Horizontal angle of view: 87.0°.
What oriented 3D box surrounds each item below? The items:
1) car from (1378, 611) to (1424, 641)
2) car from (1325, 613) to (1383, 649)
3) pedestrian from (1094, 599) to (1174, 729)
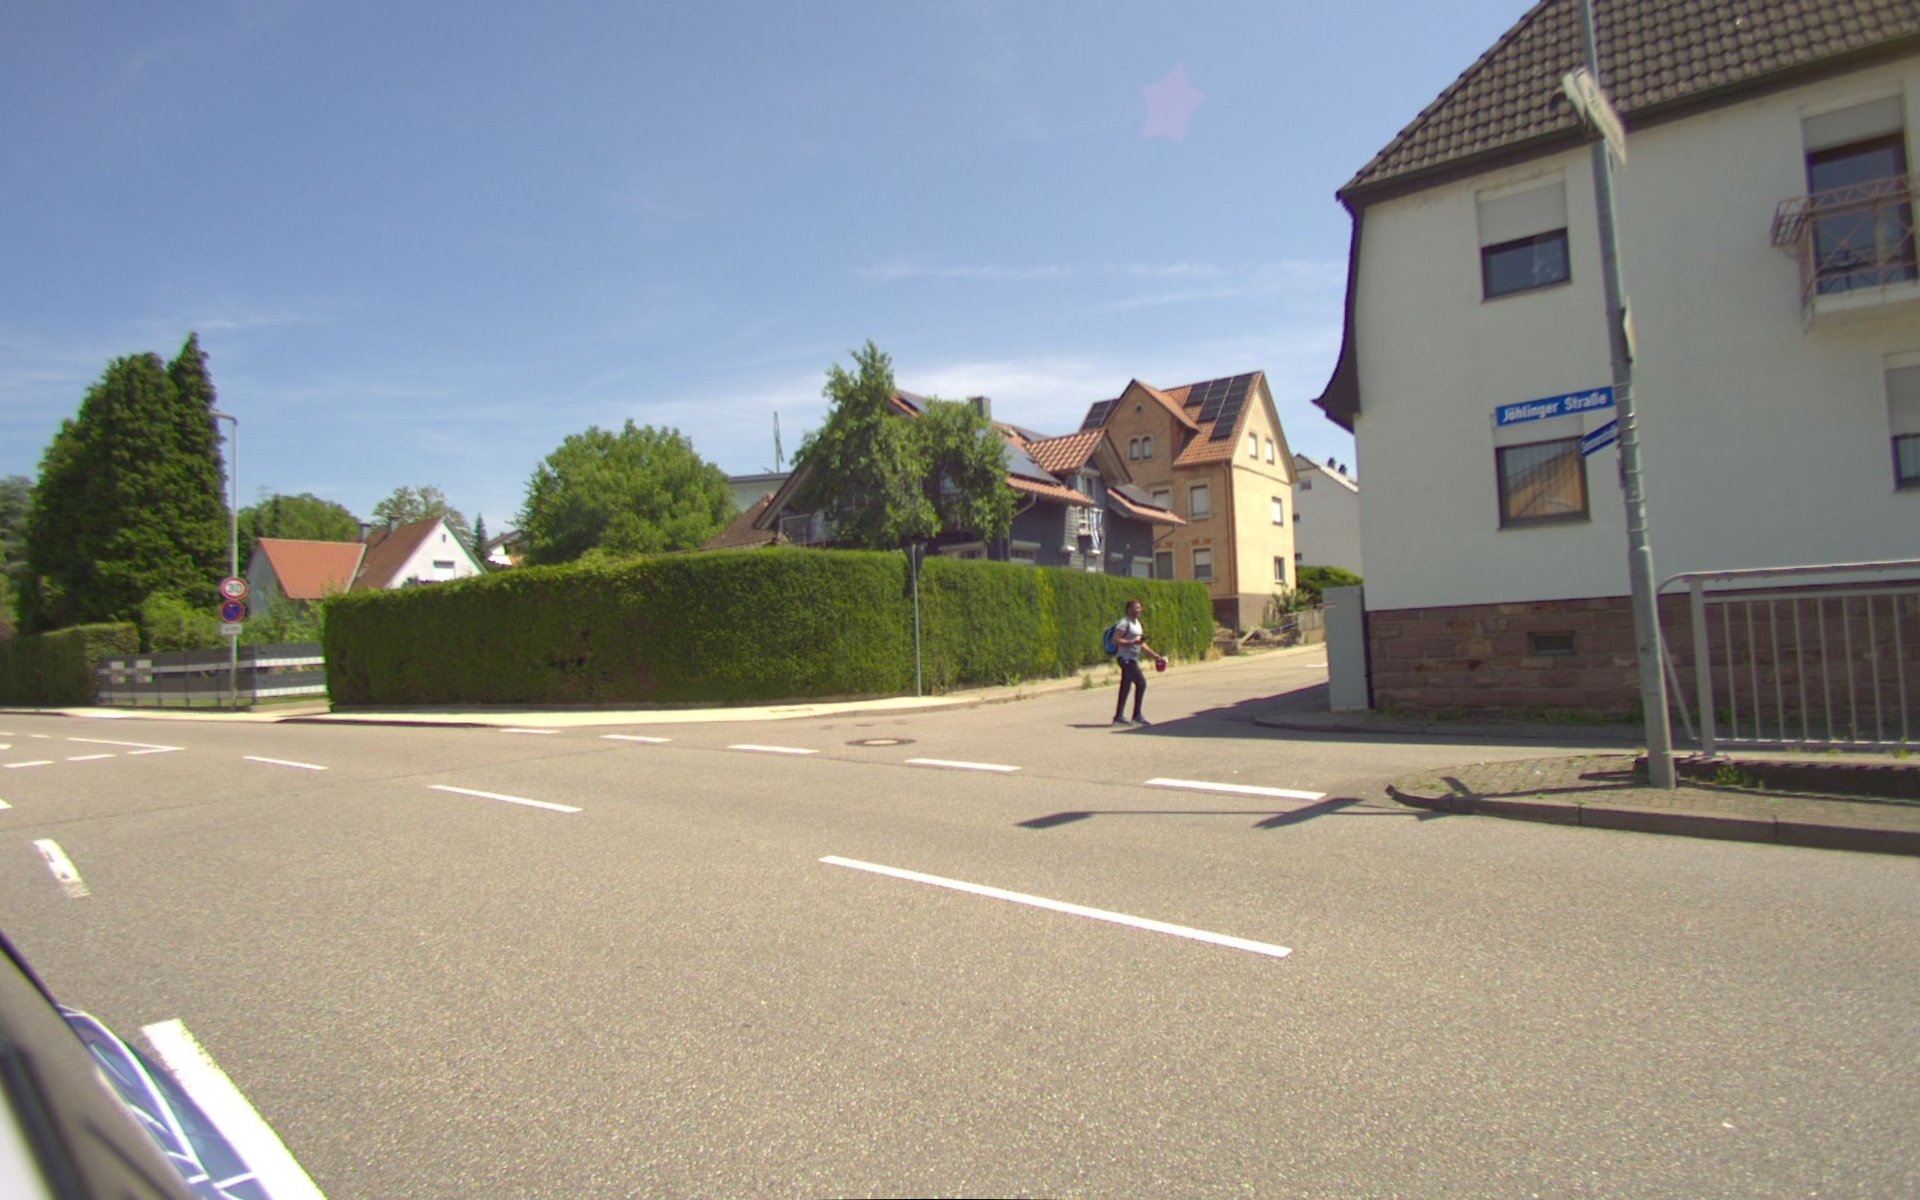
[{"bbox_3d":[23.926,1.404,54.852,1.611,1.499,3.383,-3,-2,35],"label":"car"},{"bbox_3d":[17.622,1.364,45.197,1.611,1.499,3.383,-3,-2,35],"label":"car"},{"bbox_3d":[2.445,0.869,14.191,0.854,1.742,0.721,-1,0,35],"label":"pedestrian"}]
